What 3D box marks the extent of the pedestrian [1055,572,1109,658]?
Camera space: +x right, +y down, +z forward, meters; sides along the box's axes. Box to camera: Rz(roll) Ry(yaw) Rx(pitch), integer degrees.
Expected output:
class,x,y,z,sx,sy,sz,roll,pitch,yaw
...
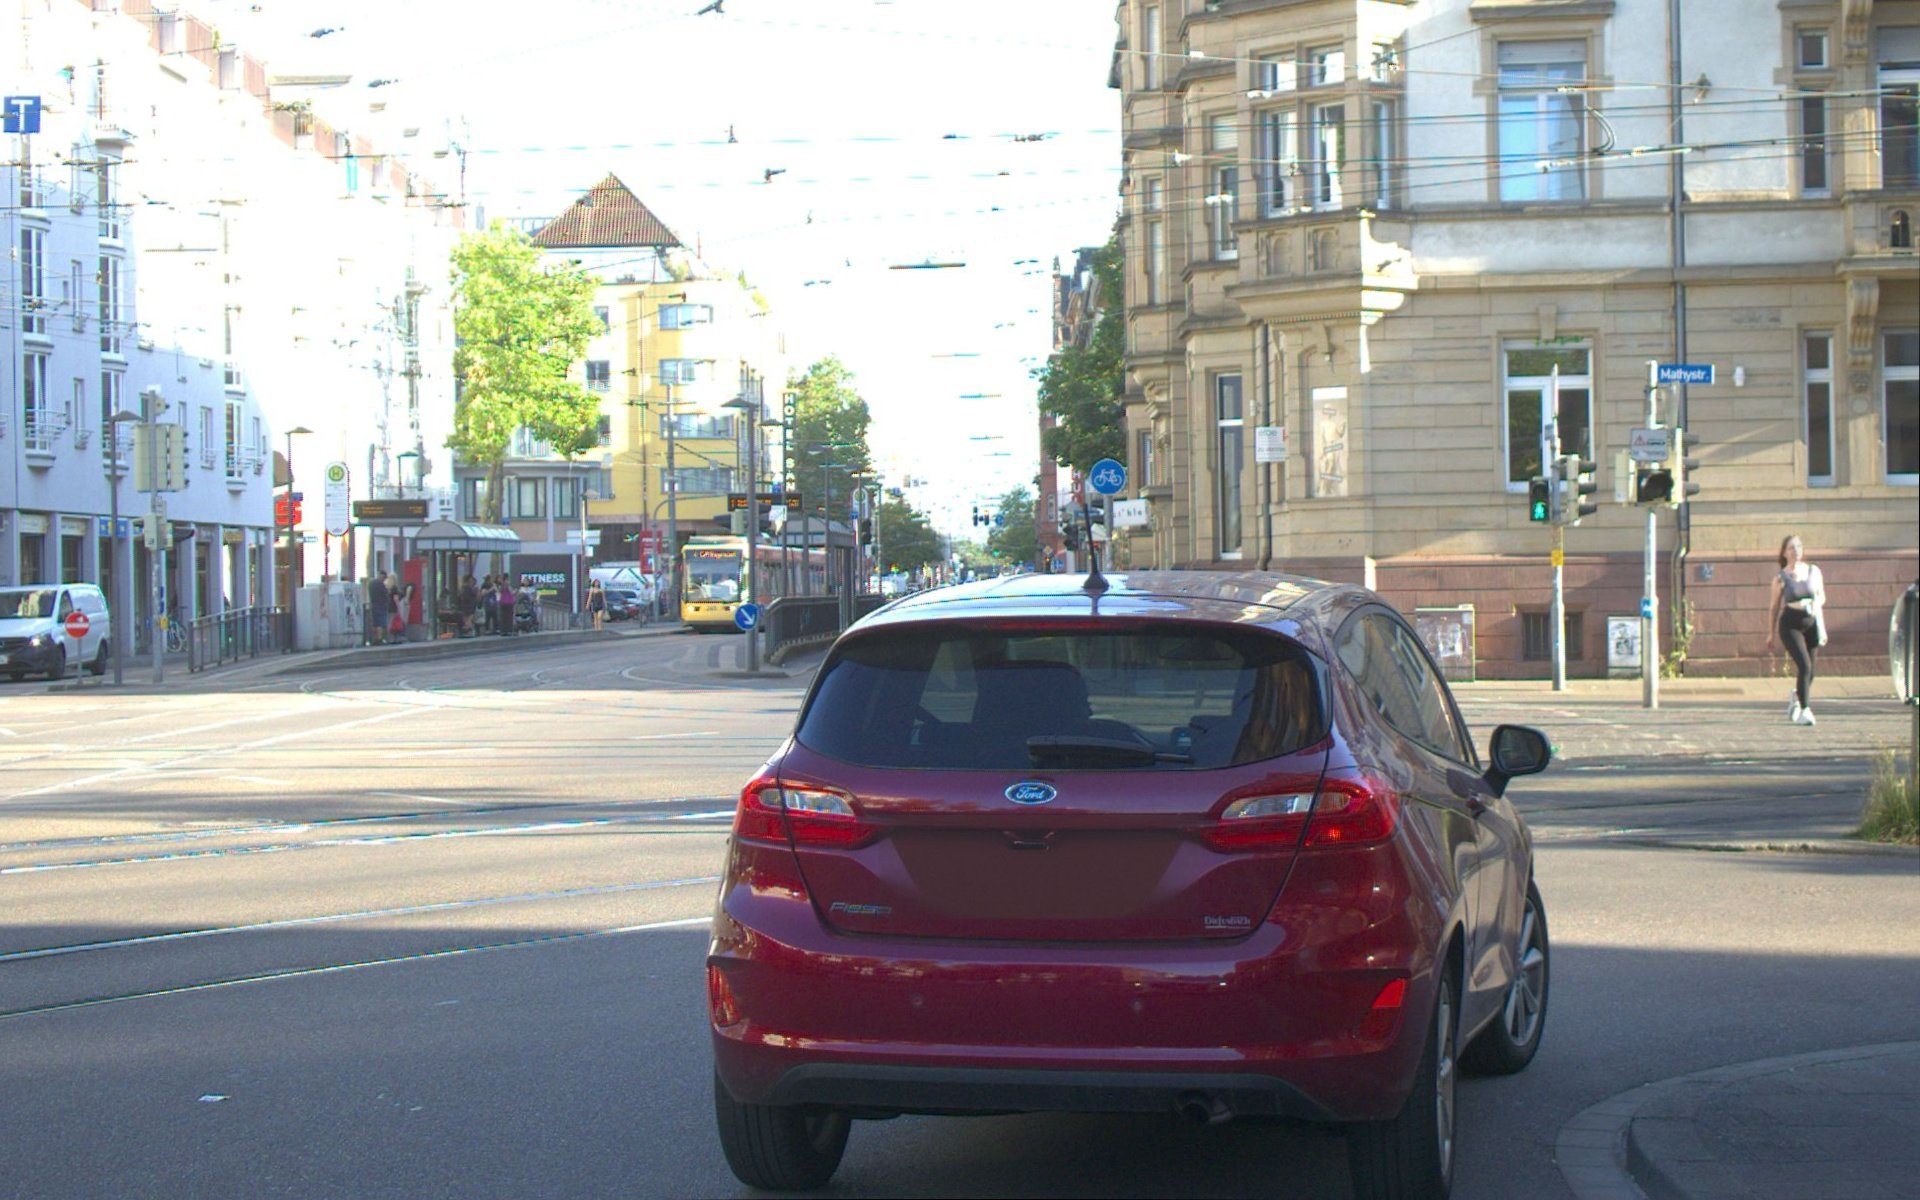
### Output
class,x,y,z,sx,sy,sz,roll,pitch,yaw
pedestrian,1.948,0.239,54.891,0.794,1.327,0.719,-2,-1,1

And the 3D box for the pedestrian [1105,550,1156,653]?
class,x,y,z,sx,sy,sz,roll,pitch,yaw
pedestrian,3.087,0.028,62.256,0.801,1.817,0.797,-2,1,1

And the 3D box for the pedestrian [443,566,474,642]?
class,x,y,z,sx,sy,sz,roll,pitch,yaw
pedestrian,-12.598,0.101,86.374,0.695,1.898,0.672,-1,0,-2

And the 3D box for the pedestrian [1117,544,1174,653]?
class,x,y,z,sx,sy,sz,roll,pitch,yaw
pedestrian,2.969,-0.018,55.095,0.794,1.715,0.719,-2,-1,-1

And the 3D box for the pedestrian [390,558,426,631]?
class,x,y,z,sx,sy,sz,roll,pitch,yaw
pedestrian,-12.965,-0.128,80.719,0.695,1.685,0.672,-1,0,-23

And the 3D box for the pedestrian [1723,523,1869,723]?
class,x,y,z,sx,sy,sz,roll,pitch,yaw
pedestrian,7.694,0.201,31.698,1.023,1.801,1.083,-1,0,-2

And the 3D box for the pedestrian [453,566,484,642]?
class,x,y,z,sx,sy,sz,roll,pitch,yaw
pedestrian,-12.425,0.105,86.930,0.695,1.898,0.672,-1,0,-2

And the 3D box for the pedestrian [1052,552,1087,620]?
class,x,y,z,sx,sy,sz,roll,pitch,yaw
pedestrian,2.701,-0.347,84.977,0.762,1.640,0.832,-2,1,1

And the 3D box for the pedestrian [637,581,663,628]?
class,x,y,z,sx,sy,sz,roll,pitch,yaw
pedestrian,-12.533,0.170,138.859,0.878,1.898,0.935,-1,0,-15

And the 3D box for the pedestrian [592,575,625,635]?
class,x,y,z,sx,sy,sz,roll,pitch,yaw
pedestrian,-11.133,0.154,108.943,0.878,1.898,0.935,-1,0,-15

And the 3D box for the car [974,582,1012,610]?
class,x,y,z,sx,sy,sz,roll,pitch,yaw
car,1.777,-0.228,184.744,1.993,1.444,4.000,0,0,1

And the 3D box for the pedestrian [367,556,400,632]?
class,x,y,z,sx,sy,sz,roll,pitch,yaw
pedestrian,-12.789,-0.131,76.228,0.599,1.686,0.613,-1,0,1

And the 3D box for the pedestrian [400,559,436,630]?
class,x,y,z,sx,sy,sz,roll,pitch,yaw
pedestrian,-12.985,-0.126,82.427,0.695,1.685,0.672,-1,0,-23

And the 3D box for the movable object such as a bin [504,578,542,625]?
class,x,y,z,sx,sy,sz,roll,pitch,yaw
movable object such as a bin,-12.036,0.037,94.706,0.937,1.282,0.935,-1,0,-1

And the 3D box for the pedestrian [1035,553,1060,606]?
class,x,y,z,sx,sy,sz,roll,pitch,yaw
pedestrian,3.031,-0.707,119.105,0.713,1.768,0.773,-4,1,-2

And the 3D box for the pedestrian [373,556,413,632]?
class,x,y,z,sx,sy,sz,roll,pitch,yaw
pedestrian,-12.935,-0.130,78.374,0.765,1.727,0.519,-1,0,43

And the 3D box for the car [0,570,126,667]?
class,x,y,z,sx,sy,sz,roll,pitch,yaw
car,-18.192,0.331,68.086,1.993,1.831,5.346,-1,0,0

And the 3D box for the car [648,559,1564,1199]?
class,x,y,z,sx,sy,sz,roll,pitch,yaw
car,0.585,0.668,8.990,1.693,1.490,3.578,1,0,14

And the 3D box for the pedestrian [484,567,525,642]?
class,x,y,z,sx,sy,sz,roll,pitch,yaw
pedestrian,-11.724,0.118,88.485,0.931,1.898,0.881,-1,0,-2

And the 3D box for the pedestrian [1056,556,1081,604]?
class,x,y,z,sx,sy,sz,roll,pitch,yaw
pedestrian,3.772,-0.698,119.130,0.713,1.597,0.773,-4,1,-2

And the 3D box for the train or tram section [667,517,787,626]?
class,x,y,z,sx,sy,sz,roll,pitch,yaw
train or tram section,-8.003,-0.943,119.972,2.885,3.478,14.167,-2,0,1
